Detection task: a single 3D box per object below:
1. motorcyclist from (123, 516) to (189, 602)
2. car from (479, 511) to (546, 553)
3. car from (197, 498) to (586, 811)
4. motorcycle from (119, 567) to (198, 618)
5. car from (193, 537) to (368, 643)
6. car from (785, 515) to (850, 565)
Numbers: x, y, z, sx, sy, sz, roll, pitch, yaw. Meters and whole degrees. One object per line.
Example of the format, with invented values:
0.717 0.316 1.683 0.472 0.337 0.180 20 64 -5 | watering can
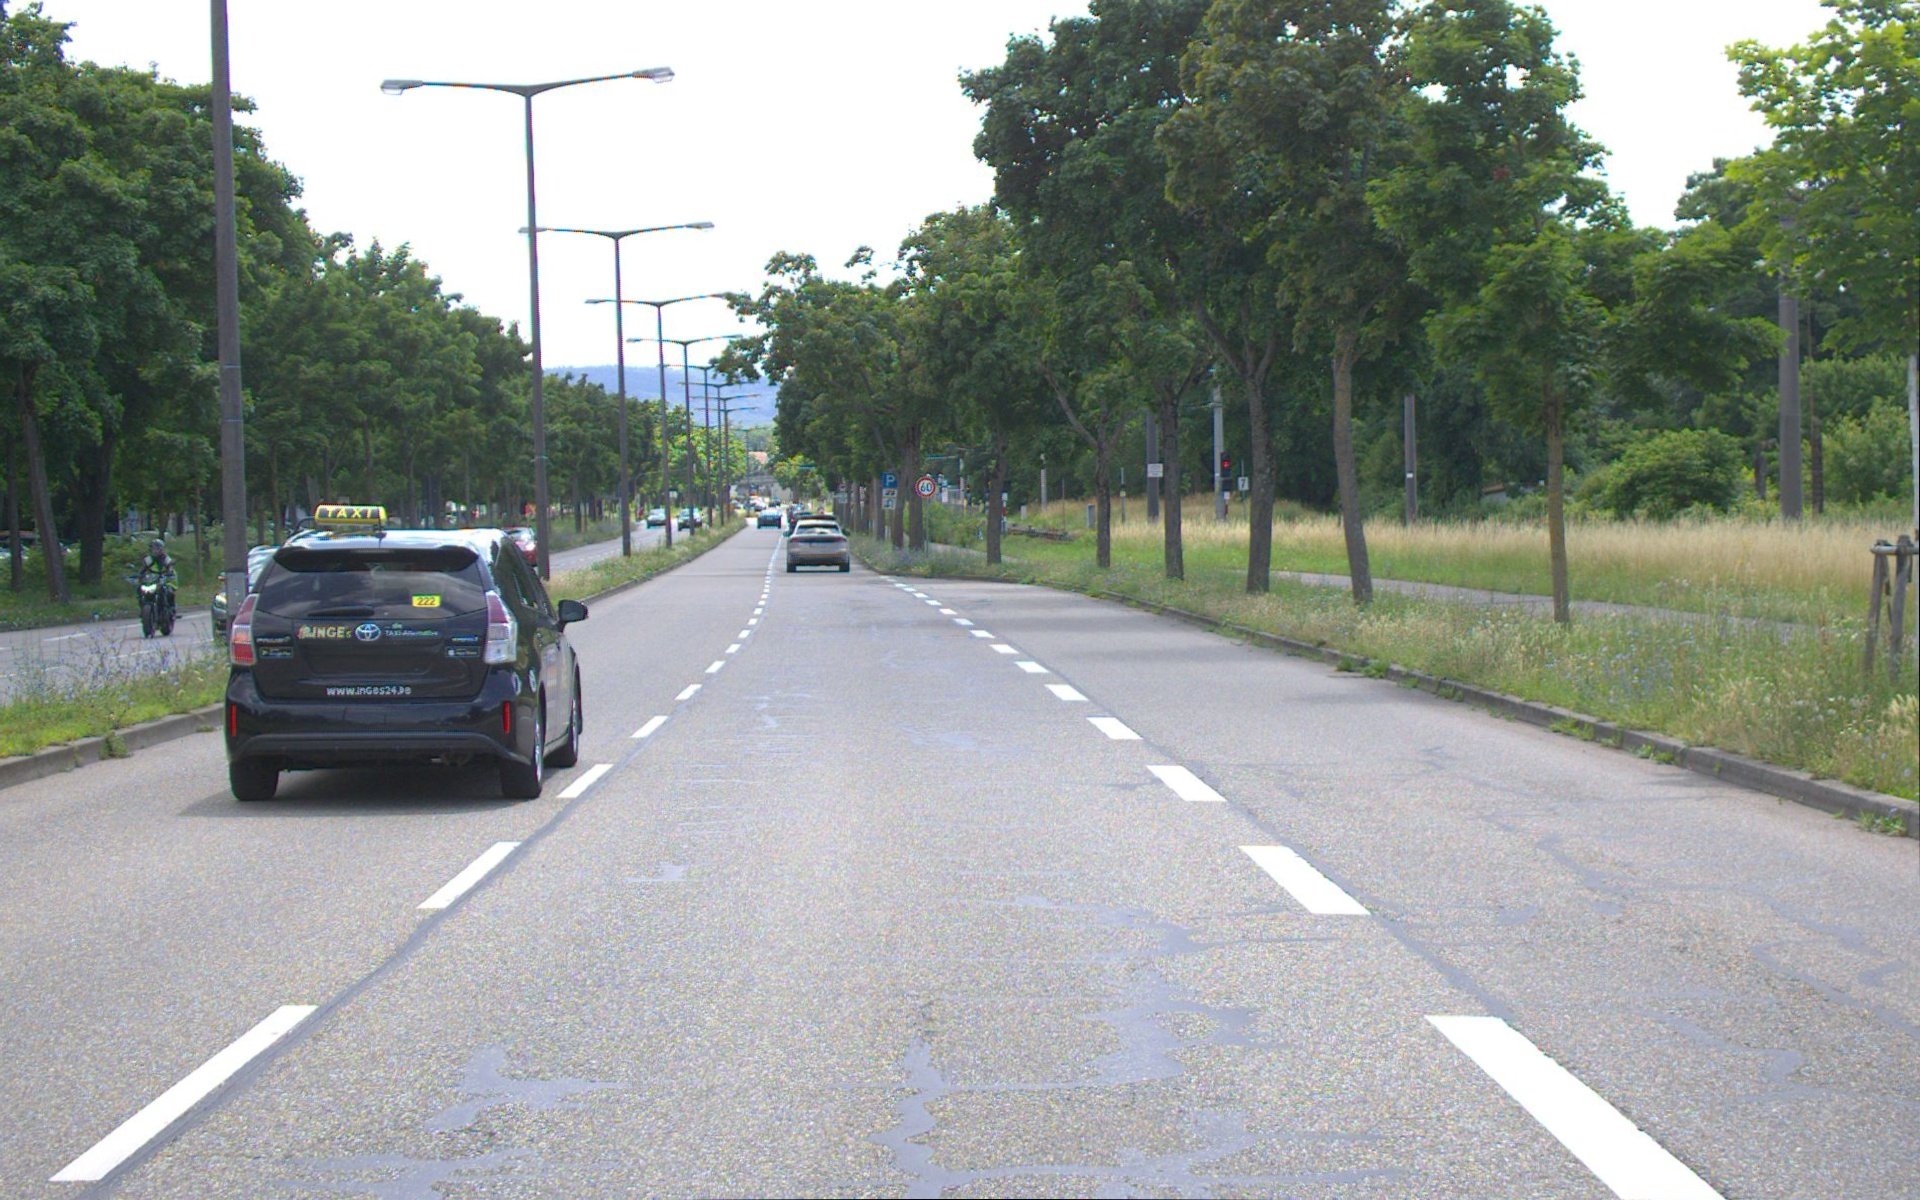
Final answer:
-13.447 -0.692 57.524 0.827 1.409 1.329 0 2 -1 | motorcyclist
-16.574 -2.540 127.539 1.879 1.503 3.798 0 2 2 | car
-3.322 0.240 20.772 1.779 1.678 4.001 0 2 -1 | car
-13.420 -0.137 57.612 0.751 0.769 2.672 0 2 -1 | motorcycle
-10.207 -0.185 51.949 1.810 1.393 4.734 -1 2 -2 | car
-4.556 -1.933 109.675 1.993 1.503 4.001 0 2 -3 | car
